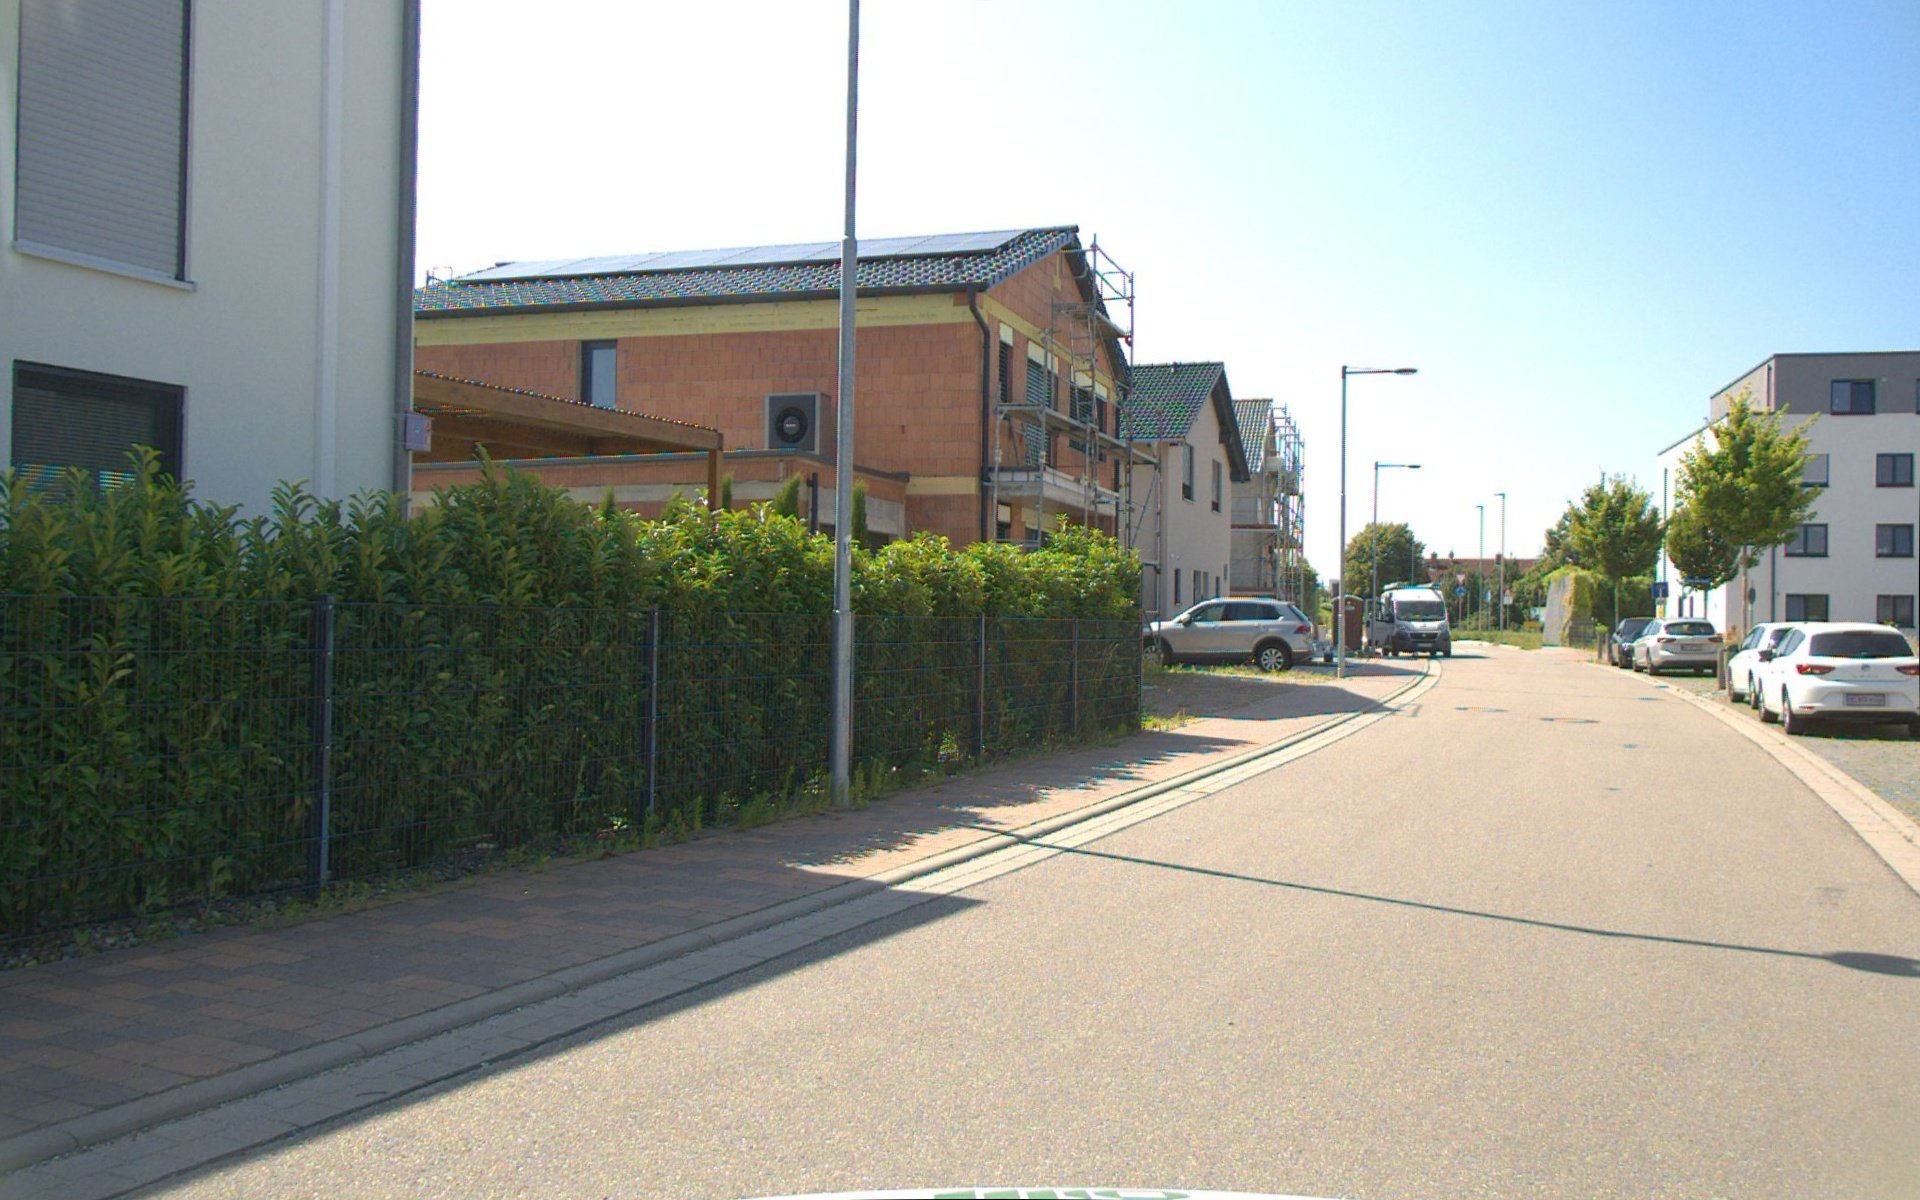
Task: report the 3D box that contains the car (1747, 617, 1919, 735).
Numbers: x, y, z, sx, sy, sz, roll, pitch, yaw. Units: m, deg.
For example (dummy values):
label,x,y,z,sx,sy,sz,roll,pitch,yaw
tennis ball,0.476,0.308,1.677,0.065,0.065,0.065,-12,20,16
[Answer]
label,x,y,z,sx,sy,sz,roll,pitch,yaw
car,12.328,0.998,23.281,1.776,1.481,4.565,-1,-1,20

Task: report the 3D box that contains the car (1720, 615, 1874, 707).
label,x,y,z,sx,sy,sz,roll,pitch,yaw
car,14.652,1.014,29.172,1.742,1.451,4.516,-1,0,18

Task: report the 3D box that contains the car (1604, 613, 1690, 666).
label,x,y,z,sx,sy,sz,roll,pitch,yaw
car,20.850,1.159,50.361,1.878,1.495,5.143,-1,0,17

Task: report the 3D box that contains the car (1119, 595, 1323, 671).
label,x,y,z,sx,sy,sz,roll,pitch,yaw
car,5.914,0.728,37.325,4.331,1.640,2.001,0,-1,16

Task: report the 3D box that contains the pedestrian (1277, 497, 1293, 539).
label,x,y,z,sx,sy,sz,roll,pitch,yaw
pedestrian,12.328,-3.115,62.695,0.549,1.526,0.748,0,-3,16

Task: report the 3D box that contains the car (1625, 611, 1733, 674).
label,x,y,z,sx,sy,sz,roll,pitch,yaw
car,19.251,1.098,44.502,1.877,1.537,5.298,-1,0,15

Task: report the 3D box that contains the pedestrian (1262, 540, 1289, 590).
label,x,y,z,sx,sy,sz,roll,pitch,yaw
pedestrian,11.076,-1.212,58.086,0.737,1.709,0.573,2,-3,-27

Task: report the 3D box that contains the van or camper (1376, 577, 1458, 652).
label,x,y,z,sx,sy,sz,roll,pitch,yaw
van or camper,16.781,0.584,61.026,2.224,2.598,6.372,0,-1,9
